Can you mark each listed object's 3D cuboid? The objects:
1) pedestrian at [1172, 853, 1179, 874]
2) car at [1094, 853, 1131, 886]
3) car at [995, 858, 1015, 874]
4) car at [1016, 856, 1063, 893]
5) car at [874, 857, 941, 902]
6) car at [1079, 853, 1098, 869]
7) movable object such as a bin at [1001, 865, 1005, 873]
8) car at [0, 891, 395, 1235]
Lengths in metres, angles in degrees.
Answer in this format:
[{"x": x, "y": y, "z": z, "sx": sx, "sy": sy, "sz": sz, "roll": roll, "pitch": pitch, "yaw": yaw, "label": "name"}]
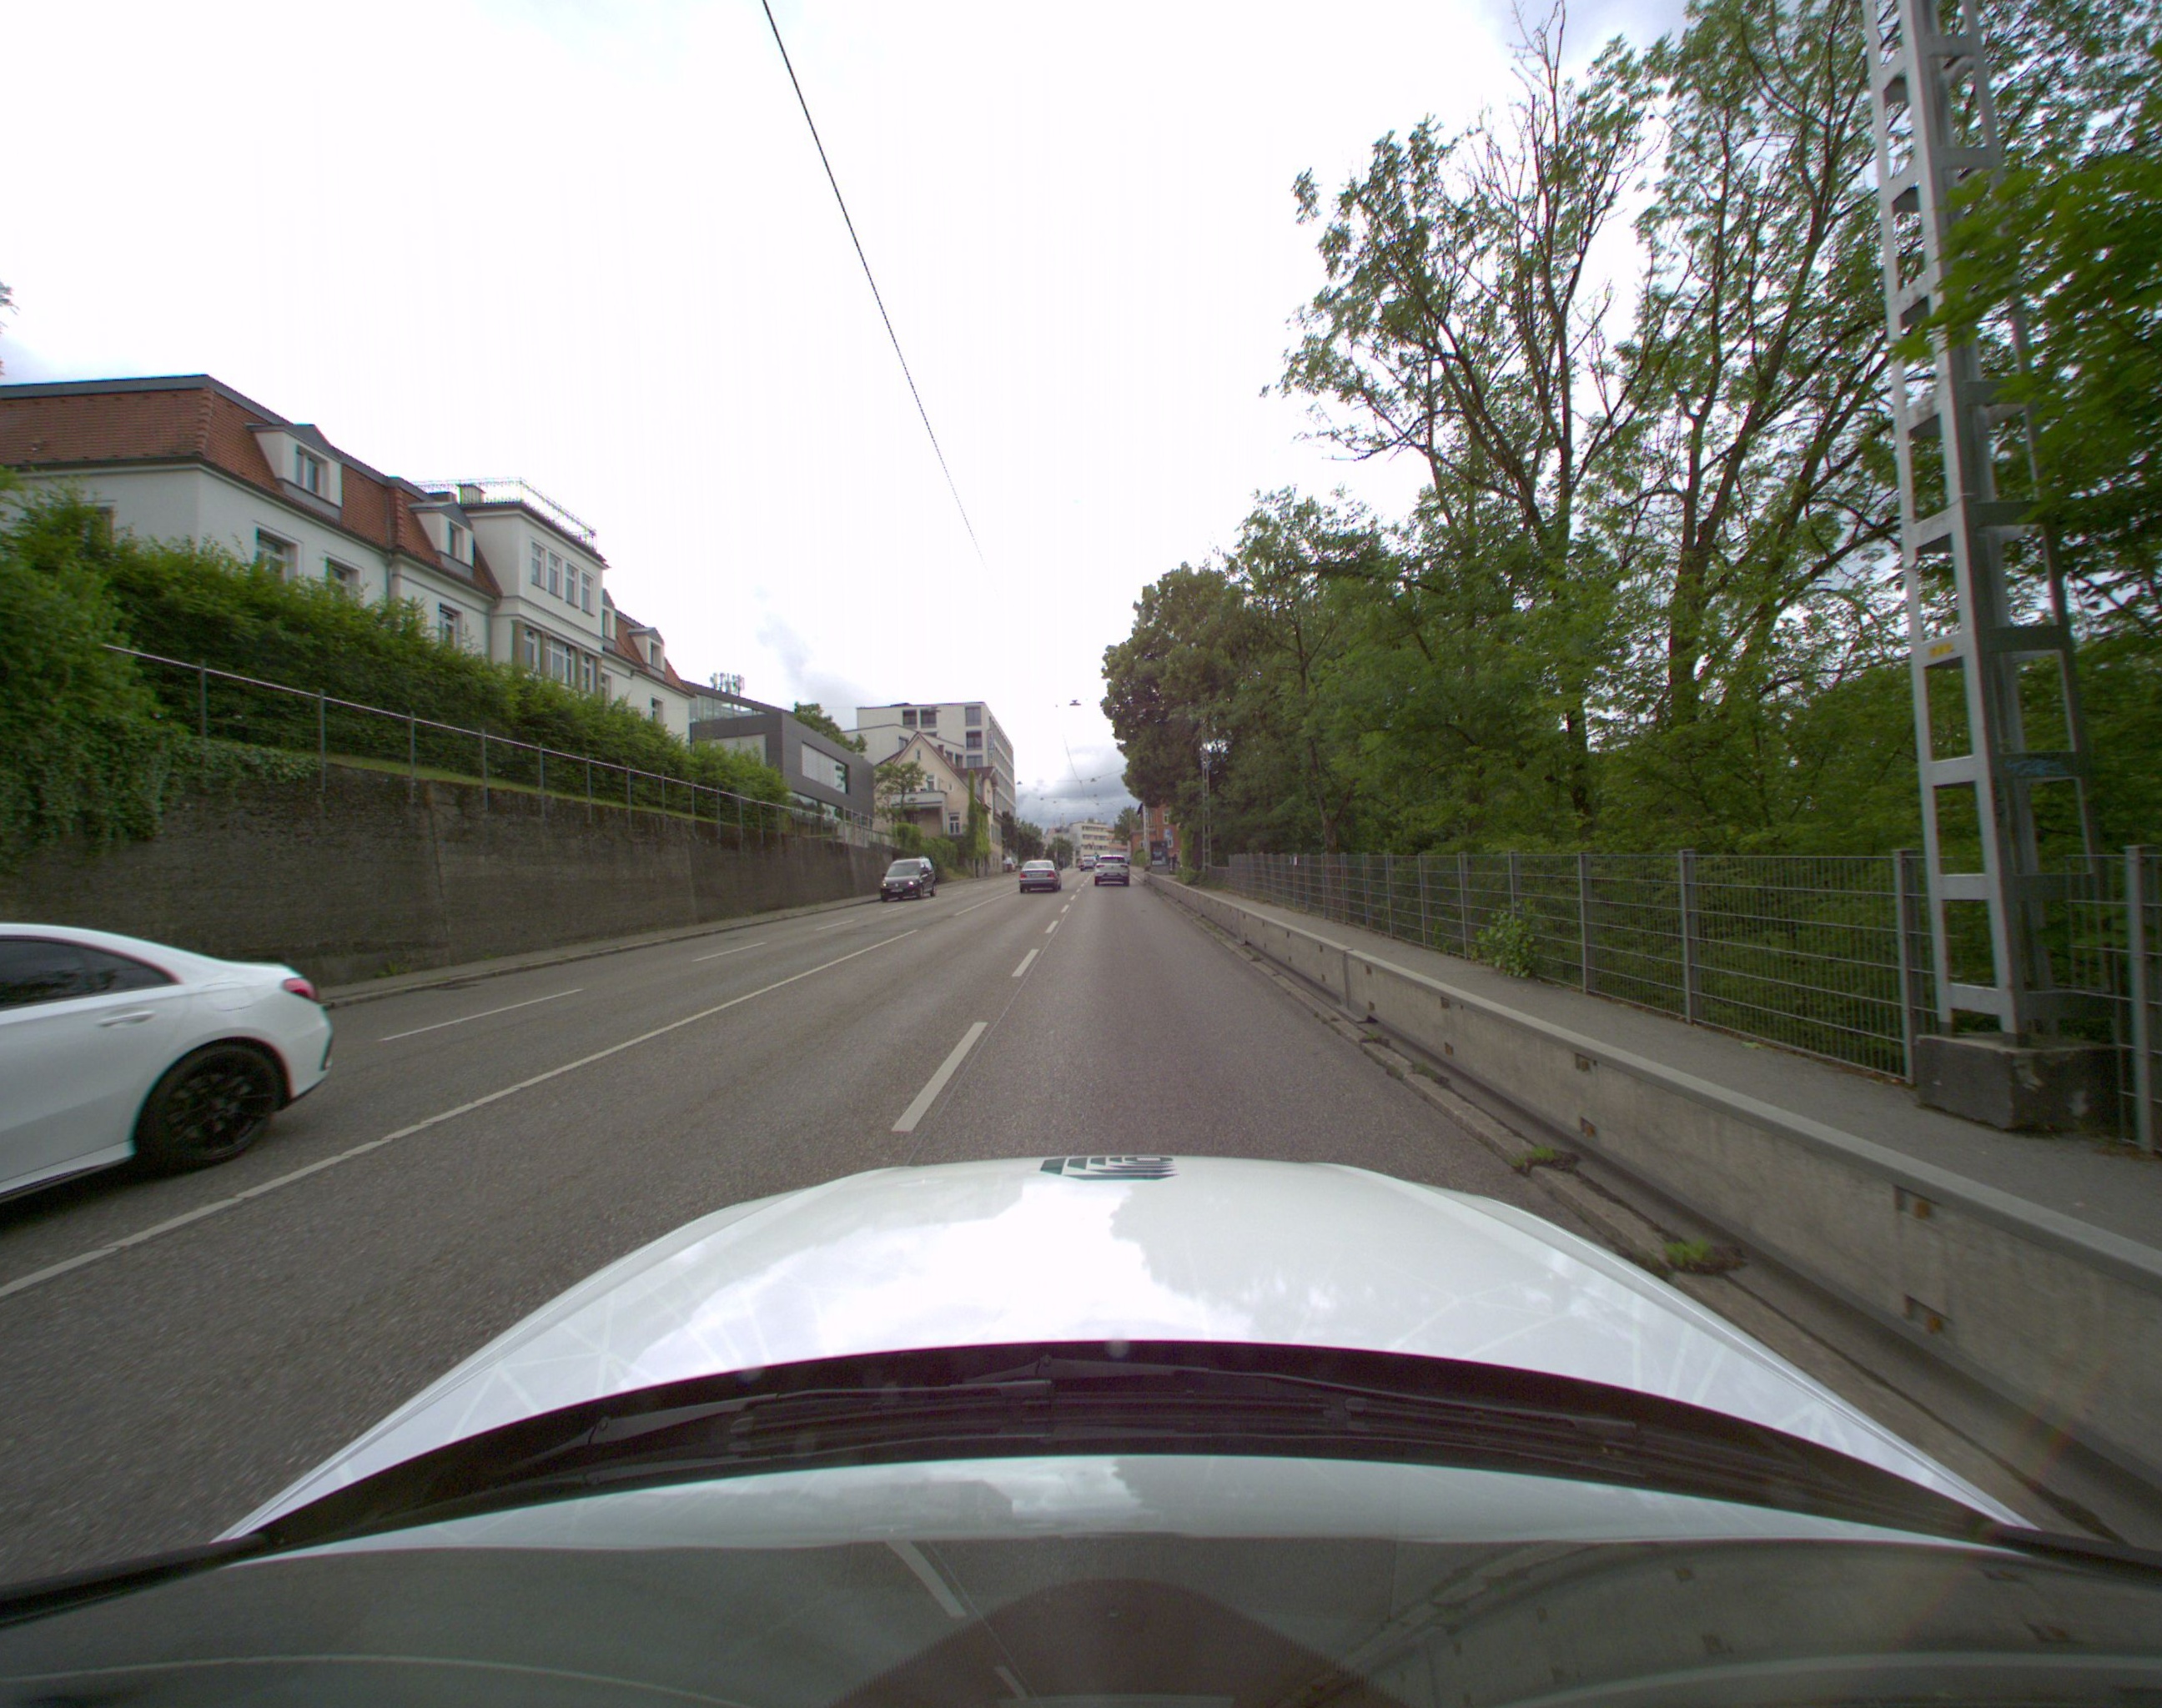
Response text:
[{"x": 7.835, "y": 0.797, "z": 67.530, "sx": 0.508, "sy": 1.717, "sz": 0.465, "roll": -3, "pitch": 0, "yaw": 0, "label": "pedestrian"}, {"x": 1.587, "y": 0.760, "z": 42.104, "sx": 1.774, "sy": 1.579, "sz": 4.000, "roll": -1, "pitch": 0, "yaw": 1, "label": "car"}, {"x": -8.997, "y": 1.401, "z": 96.523, "sx": 1.989, "sy": 1.701, "sz": 3.997, "roll": -3, "pitch": 0, "yaw": -2, "label": "car"}, {"x": -1.766, "y": 0.878, "z": 36.057, "sx": 1.700, "sy": 1.464, "sz": 4.002, "roll": -2, "pitch": 0, "yaw": 2, "label": "car"}, {"x": -7.652, "y": 1.085, "z": 36.356, "sx": 1.810, "sy": 1.784, "sz": 4.497, "roll": -3, "pitch": 0, "yaw": 2, "label": "car"}, {"x": 0.783, "y": 0.698, "z": 82.644, "sx": 1.700, "sy": 1.464, "sz": 4.002, "roll": -2, "pitch": 0, "yaw": 2, "label": "car"}, {"x": -8.929, "y": 1.724, "z": 93.652, "sx": 0.424, "sy": 0.965, "sz": 0.359, "roll": -1, "pitch": -2, "yaw": -1, "label": "movable object such as a bin"}, {"x": -5.574, "y": 1.005, "z": 3.188, "sx": 1.809, "sy": 1.386, "sz": 4.464, "roll": -4, "pitch": 0, "yaw": 2, "label": "car"}]
